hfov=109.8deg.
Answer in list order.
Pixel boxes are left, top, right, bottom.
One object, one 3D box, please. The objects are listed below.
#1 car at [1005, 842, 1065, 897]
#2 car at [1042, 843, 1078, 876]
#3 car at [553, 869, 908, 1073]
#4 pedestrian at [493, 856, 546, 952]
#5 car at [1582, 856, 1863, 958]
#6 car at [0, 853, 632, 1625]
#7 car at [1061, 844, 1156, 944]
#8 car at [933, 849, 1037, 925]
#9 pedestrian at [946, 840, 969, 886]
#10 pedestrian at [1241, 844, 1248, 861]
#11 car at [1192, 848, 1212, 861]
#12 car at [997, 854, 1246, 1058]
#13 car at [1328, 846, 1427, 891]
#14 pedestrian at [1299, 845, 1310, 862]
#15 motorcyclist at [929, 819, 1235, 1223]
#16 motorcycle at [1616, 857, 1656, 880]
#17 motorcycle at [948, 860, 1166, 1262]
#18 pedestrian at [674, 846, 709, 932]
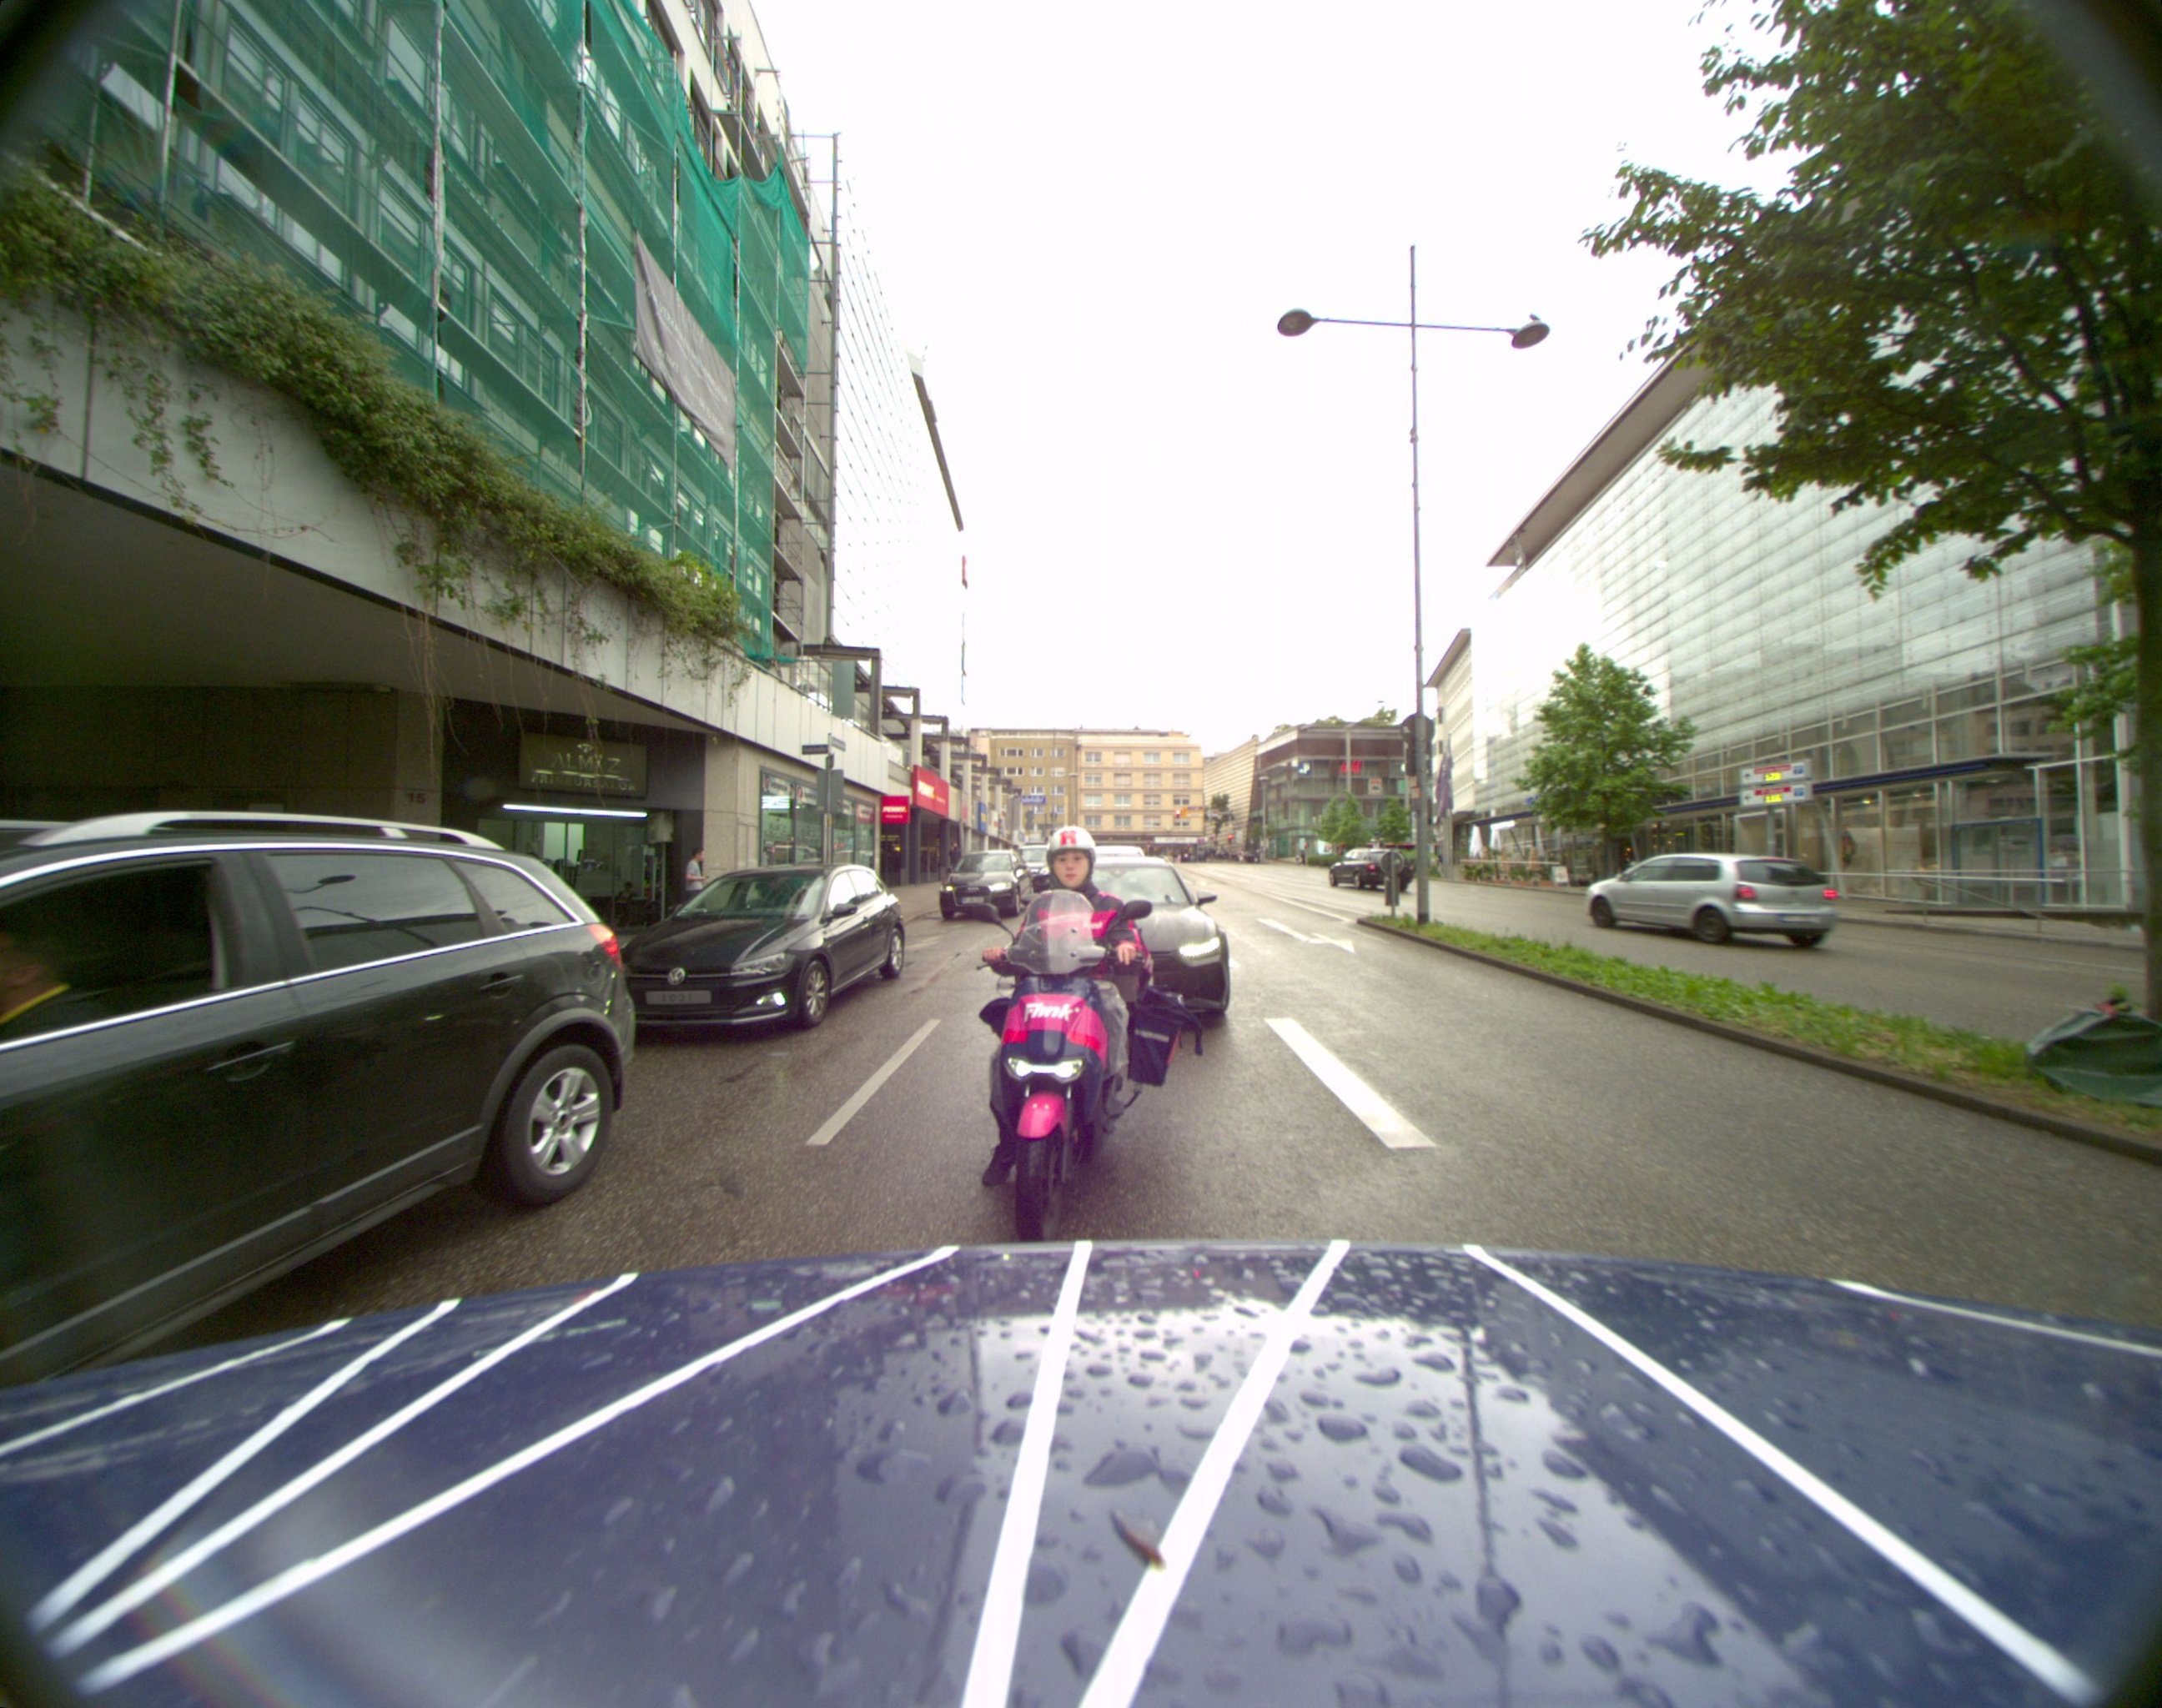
[{"bbox_3d":[-1.539,0.478,26.723,1.832,1.726,3.999,1,1,0],"label":"car"},{"bbox_3d":[-1.113,0.258,41.669,1.832,1.726,3.999,1,1,0],"label":"car"},{"bbox_3d":[-3.155,0.953,7.781,1.682,1.422,3.777,-1,1,3],"label":"car"},{"bbox_3d":[-8.862,0.771,12.005,0.428,1.480,0.524,1,2,5],"label":"pedestrian"},{"bbox_3d":[10.616,0.788,12.975,1.629,1.429,3.646,0,1,-1],"label":"car"},{"bbox_3d":[-3.264,0.878,1.841,1.735,1.669,4.248,-1,1,1],"label":"car"},{"bbox_3d":[0.478,0.688,15.138,1.632,1.731,3.599,1,1,0],"label":"car"},{"bbox_3d":[-2.266,0.725,18.943,1.776,1.575,4.000,-2,1,4],"label":"car"},{"bbox_3d":[-5.032,0.356,30.897,0.708,1.771,0.640,5,6,1],"label":"pedestrian"},{"bbox_3d":[17.726,-0.186,82.517,0.606,1.831,0.588,-2,1,-1],"label":"pedestrian"},{"bbox_3d":[19.181,0.048,120.513,2.000,2.002,3.997,-2,1,-7],"label":"car"},{"bbox_3d":[0.325,0.802,8.197,1.937,1.511,4.467,-1,1,0],"label":"car"},{"bbox_3d":[10.626,0.468,27.608,1.998,1.500,4.184,0,1,1],"label":"car"},{"bbox_3d":[25.789,-0.069,87.679,0.986,1.887,0.739,-3,1,-17],"label":"pedestrian"},{"bbox_3d":[0.006,0.737,3.796,1.296,1.757,0.845,-2,1,-1],"label":"motorcyclist"},{"bbox_3d":[27.456,0.718,37.598,1.571,1.066,0.417,1,2,9],"label":"motorcycle"},{"bbox_3d":[-0.115,0.808,4.352,0.832,1.479,2.864,0,1,-1],"label":"motorcycle"},{"bbox_3d":[-7.307,0.649,14.278,0.404,1.587,0.464,0,2,-1],"label":"pedestrian"}]
